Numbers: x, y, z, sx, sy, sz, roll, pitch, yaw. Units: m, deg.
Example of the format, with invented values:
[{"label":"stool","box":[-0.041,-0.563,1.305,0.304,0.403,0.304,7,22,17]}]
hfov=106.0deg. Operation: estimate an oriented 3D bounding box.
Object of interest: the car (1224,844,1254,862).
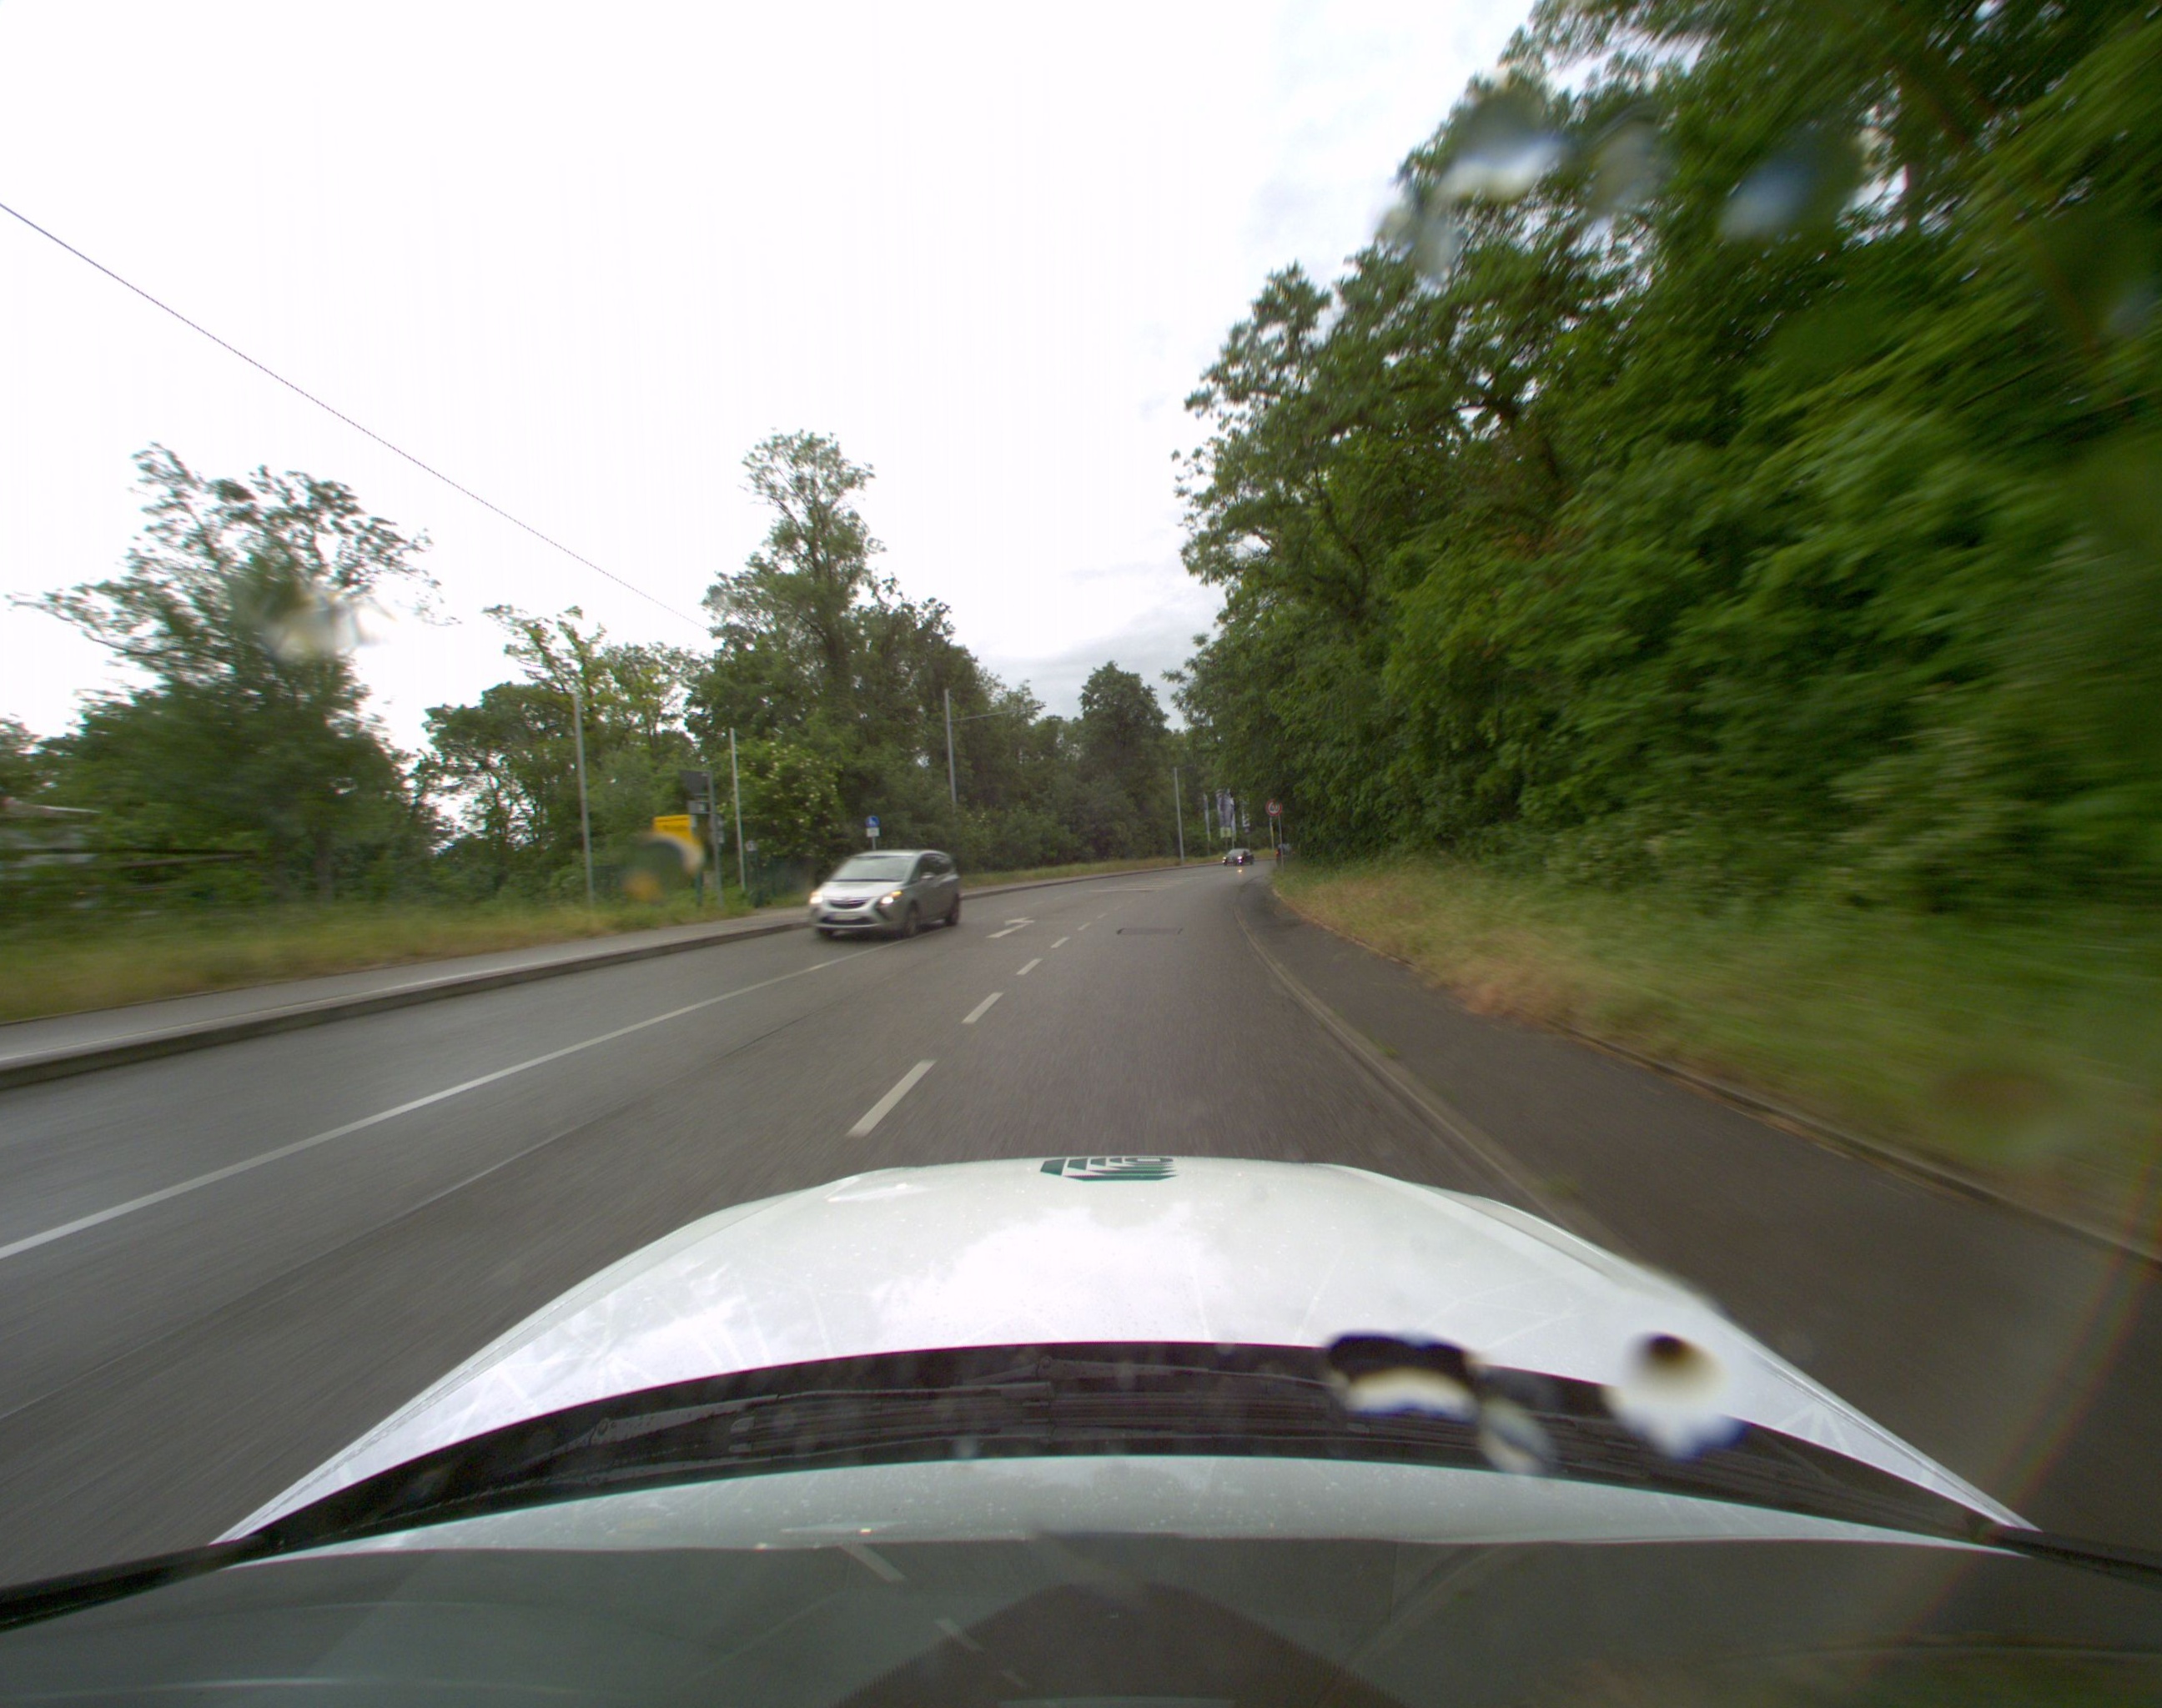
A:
[{"label":"car","box":[13.851,-0.097,71.182,1.579,1.477,3.815,0,0,27]}]

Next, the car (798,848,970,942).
[{"label":"car","box":[-3.721,0.710,16.250,1.748,1.615,4.429,0,0,9]}]

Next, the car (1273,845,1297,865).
[{"label":"car","box":[16.528,0.091,66.147,1.657,1.594,3.693,-1,0,10]}]
